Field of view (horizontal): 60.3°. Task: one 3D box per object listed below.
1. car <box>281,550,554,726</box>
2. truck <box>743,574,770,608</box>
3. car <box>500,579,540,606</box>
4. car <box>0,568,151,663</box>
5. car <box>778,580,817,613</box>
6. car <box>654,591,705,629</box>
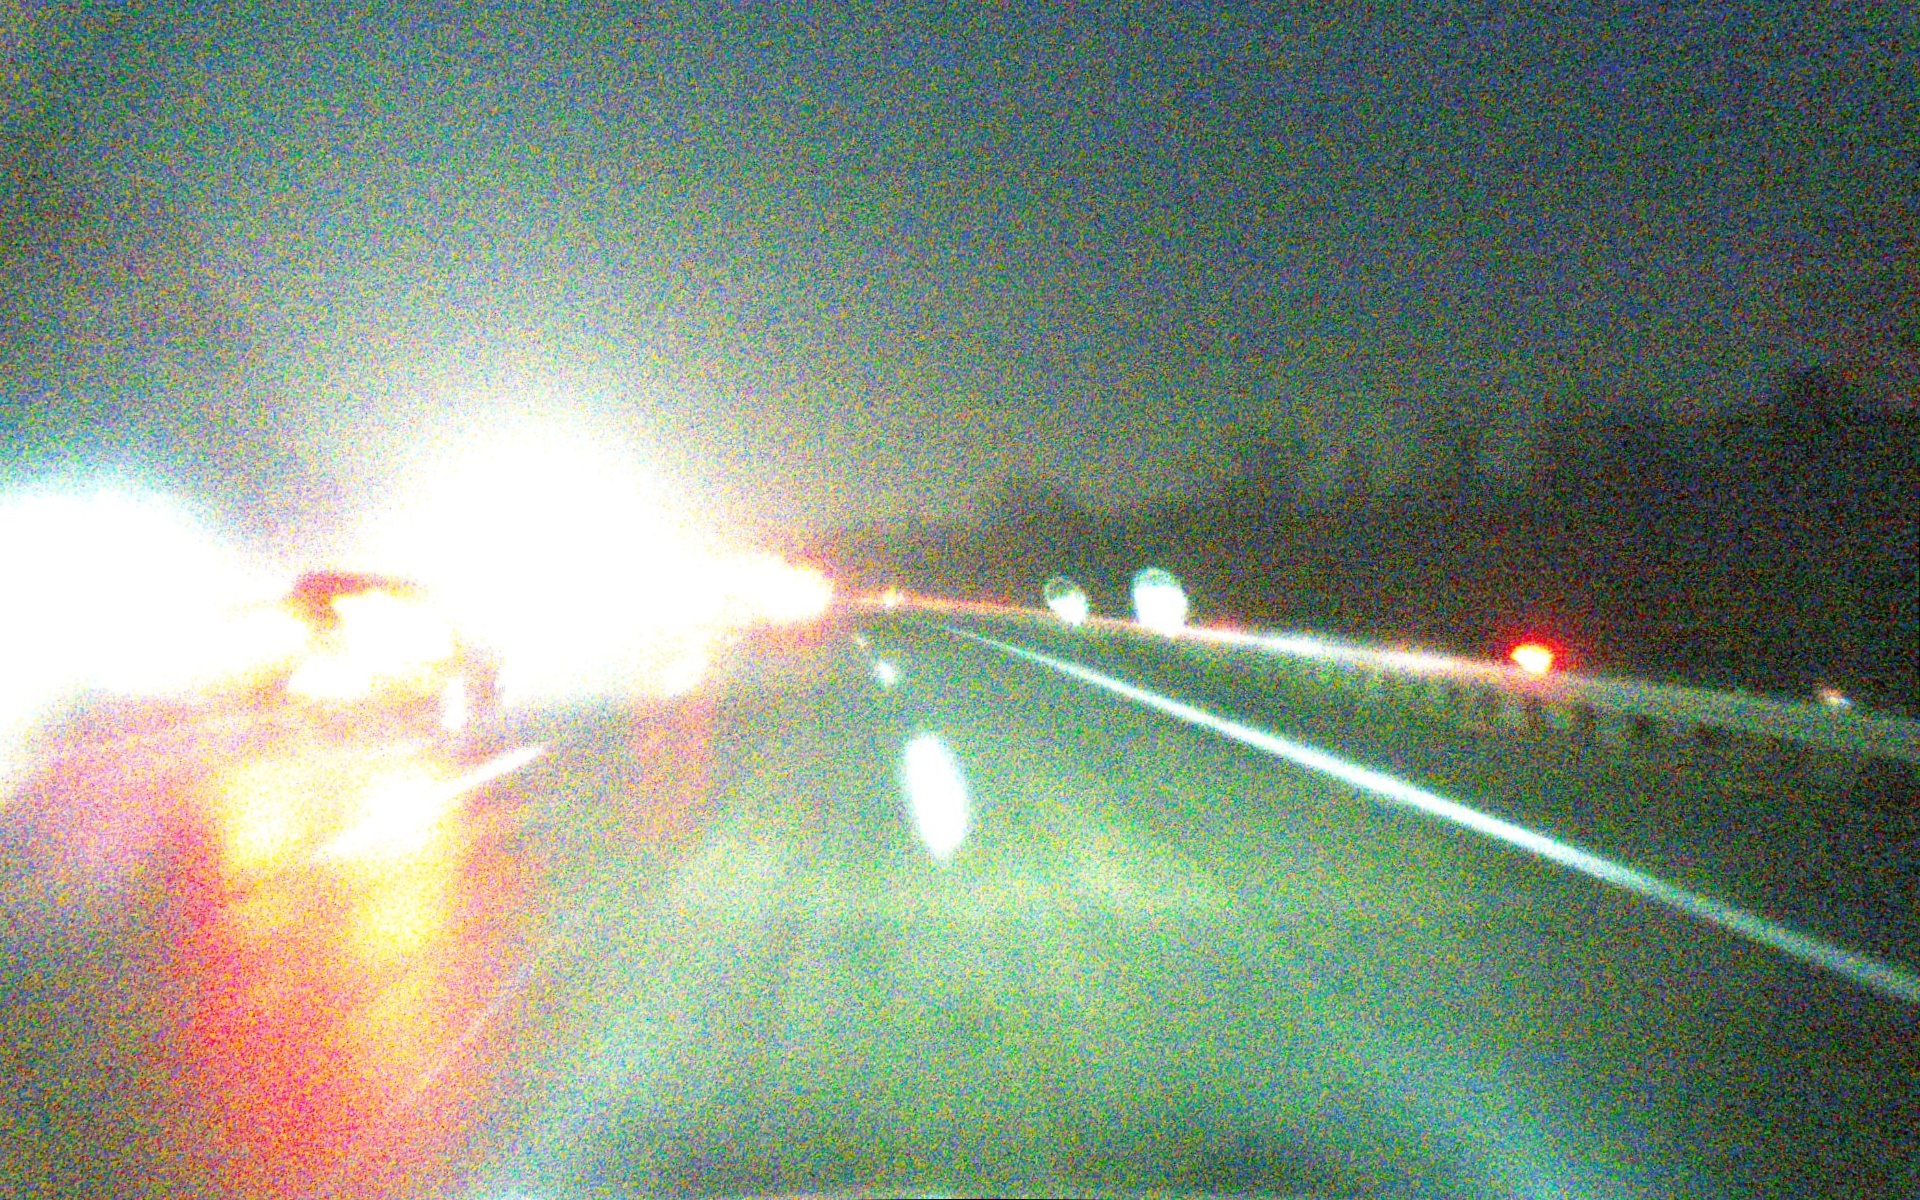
[{"bbox_3d":[-5.814,0.364,18.348,1.823,1.567,4.744,4,0,-6],"label":"car"},{"bbox_3d":[-19.513,-0.791,158.348,1.959,3.096,6.444,1,-1,-12],"label":"truck"},{"bbox_3d":[-28.090,-0.483,105.723,1.738,1.660,4.697,1,0,-6],"label":"car"},{"bbox_3d":[-15.595,0.241,28.854,1.544,1.519,3.991,1,0,-9],"label":"car"},{"bbox_3d":[-7.814,-0.185,79.672,1.766,1.513,3.996,1,0,-4],"label":"car"},{"bbox_3d":[-9.811,0.378,58.080,1.631,1.258,3.754,1,-1,-8],"label":"car"}]
